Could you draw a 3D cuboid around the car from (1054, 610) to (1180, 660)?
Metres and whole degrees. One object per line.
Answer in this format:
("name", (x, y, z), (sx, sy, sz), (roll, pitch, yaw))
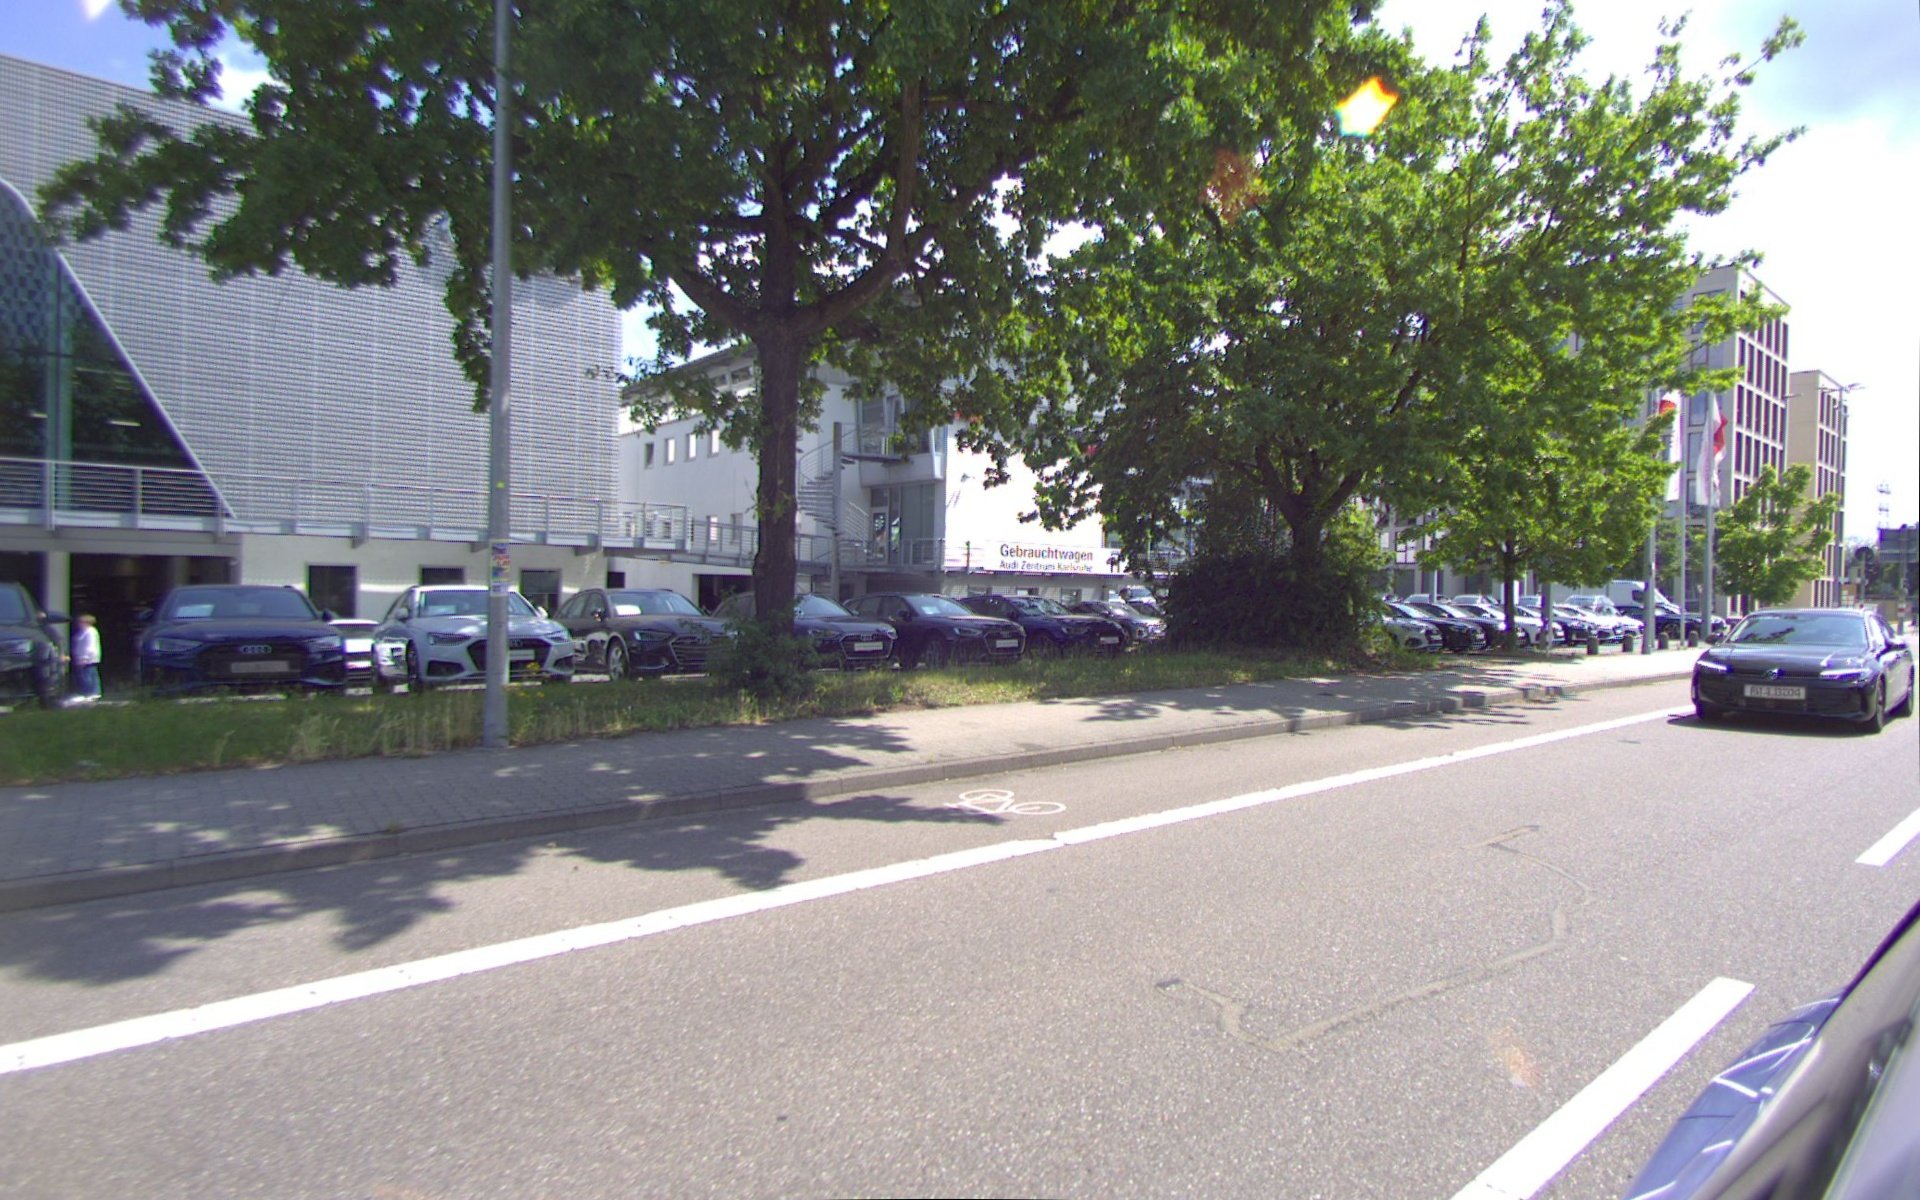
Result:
("car", (5.602, 1.214, 36.451), (1.873, 1.517, 4.357), (0, 2, -39))

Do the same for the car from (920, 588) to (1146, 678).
("car", (1.328, 0.551, 20.178), (1.873, 1.517, 4.586), (0, 2, -39))

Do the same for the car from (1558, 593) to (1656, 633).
("car", (25.576, 0.501, 39.951), (4.669, 1.483, 1.794), (0, -2, -38))

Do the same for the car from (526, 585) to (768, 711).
("car", (-4.807, 0.567, 15.092), (1.873, 1.517, 4.586), (0, 2, -39))

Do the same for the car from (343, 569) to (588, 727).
("car", (-6.649, 0.524, 13.328), (1.872, 1.699, 4.585), (2, -1, -39))

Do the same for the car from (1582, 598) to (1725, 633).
("car", (28.824, 0.625, 42.174), (1.872, 1.314, 4.585), (2, -1, -39))

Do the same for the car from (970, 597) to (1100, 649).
("car", (2.440, 0.707, 33.916), (1.873, 1.517, 4.357), (0, 2, -39))

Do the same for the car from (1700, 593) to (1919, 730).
("car", (11.729, 0.720, 13.663), (5.114, 1.497, 1.811), (1, 0, -42))

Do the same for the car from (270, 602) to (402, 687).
("car", (-13.444, 0.857, 21.697), (1.873, 1.517, 4.357), (0, 2, -39))

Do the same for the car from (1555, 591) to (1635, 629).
("car", (31.161, 0.505, 49.649), (4.505, 1.699, 1.906), (2, -1, -38))

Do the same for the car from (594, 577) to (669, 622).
("car", (-15.792, -0.040, 48.555), (1.965, 2.039, 3.992), (2, -1, -42))

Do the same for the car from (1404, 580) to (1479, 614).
("car", (26.486, -0.137, 55.657), (4.505, 1.699, 1.906), (2, -1, -38))

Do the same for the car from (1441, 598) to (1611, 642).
("car", (18.747, 0.653, 33.678), (1.872, 1.314, 4.585), (2, -1, -39))

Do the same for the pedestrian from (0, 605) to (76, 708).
("pedestrian", (-16.644, 1.008, 18.255), (0.807, 1.797, 0.781), (2, -1, -27))

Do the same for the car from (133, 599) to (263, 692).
("car", (-15.133, 0.789, 20.031), (1.873, 1.517, 4.357), (0, 2, -39))

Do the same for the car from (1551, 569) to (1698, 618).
("car", (38.322, -0.381, 58.598), (2.097, 2.640, 6.867), (2, -1, -32))

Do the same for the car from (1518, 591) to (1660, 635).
("car", (22.853, 0.499, 36.886), (1.764, 1.483, 3.994), (0, -2, -39))

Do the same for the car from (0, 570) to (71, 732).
("car", (-10.400, 0.408, 10.235), (1.872, 1.423, 4.585), (2, -1, -39))

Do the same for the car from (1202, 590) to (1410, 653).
("car", (8.444, 0.536, 25.037), (1.873, 1.423, 4.584), (2, -2, -39))

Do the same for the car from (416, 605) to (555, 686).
("car", (-10.927, 0.945, 23.144), (1.873, 1.517, 4.357), (0, 2, -39))

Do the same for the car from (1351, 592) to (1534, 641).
("car", (14.417, 0.556, 30.458), (1.873, 1.314, 4.583), (2, -4, -39))

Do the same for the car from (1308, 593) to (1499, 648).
("car", (12.341, 0.605, 28.416), (1.873, 1.402, 4.584), (2, -3, -39))

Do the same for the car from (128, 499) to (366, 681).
("car", (-8.413, -0.090, 11.784), (1.872, 1.699, 4.585), (2, -1, -39))

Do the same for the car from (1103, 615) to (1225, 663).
("car", (7.666, 1.438, 38.393), (1.873, 1.517, 4.357), (0, 2, -39))

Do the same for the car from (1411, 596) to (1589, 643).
("car", (16.917, 0.583, 31.901), (1.872, 1.314, 4.585), (2, -1, -39))

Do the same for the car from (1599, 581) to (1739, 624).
("car", (30.309, 0.095, 43.386), (1.872, 1.699, 4.585), (2, -1, -39))

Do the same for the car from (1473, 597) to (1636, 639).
("car", (20.696, 0.615, 35.393), (1.872, 1.314, 4.585), (2, -1, -39))

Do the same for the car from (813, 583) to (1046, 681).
("car", (-0.695, 0.474, 18.530), (1.873, 1.517, 4.586), (0, 2, -39))

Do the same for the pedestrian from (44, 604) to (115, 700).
("pedestrian", (-16.998, 0.991, 19.565), (0.807, 1.797, 0.781), (2, -1, -27))

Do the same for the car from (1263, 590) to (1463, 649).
("car", (10.541, 0.578, 26.794), (1.873, 1.423, 4.583), (2, -4, -39))

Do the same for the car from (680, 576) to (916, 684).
("car", (-2.851, 0.384, 16.960), (1.873, 1.517, 4.586), (0, 2, -39))
